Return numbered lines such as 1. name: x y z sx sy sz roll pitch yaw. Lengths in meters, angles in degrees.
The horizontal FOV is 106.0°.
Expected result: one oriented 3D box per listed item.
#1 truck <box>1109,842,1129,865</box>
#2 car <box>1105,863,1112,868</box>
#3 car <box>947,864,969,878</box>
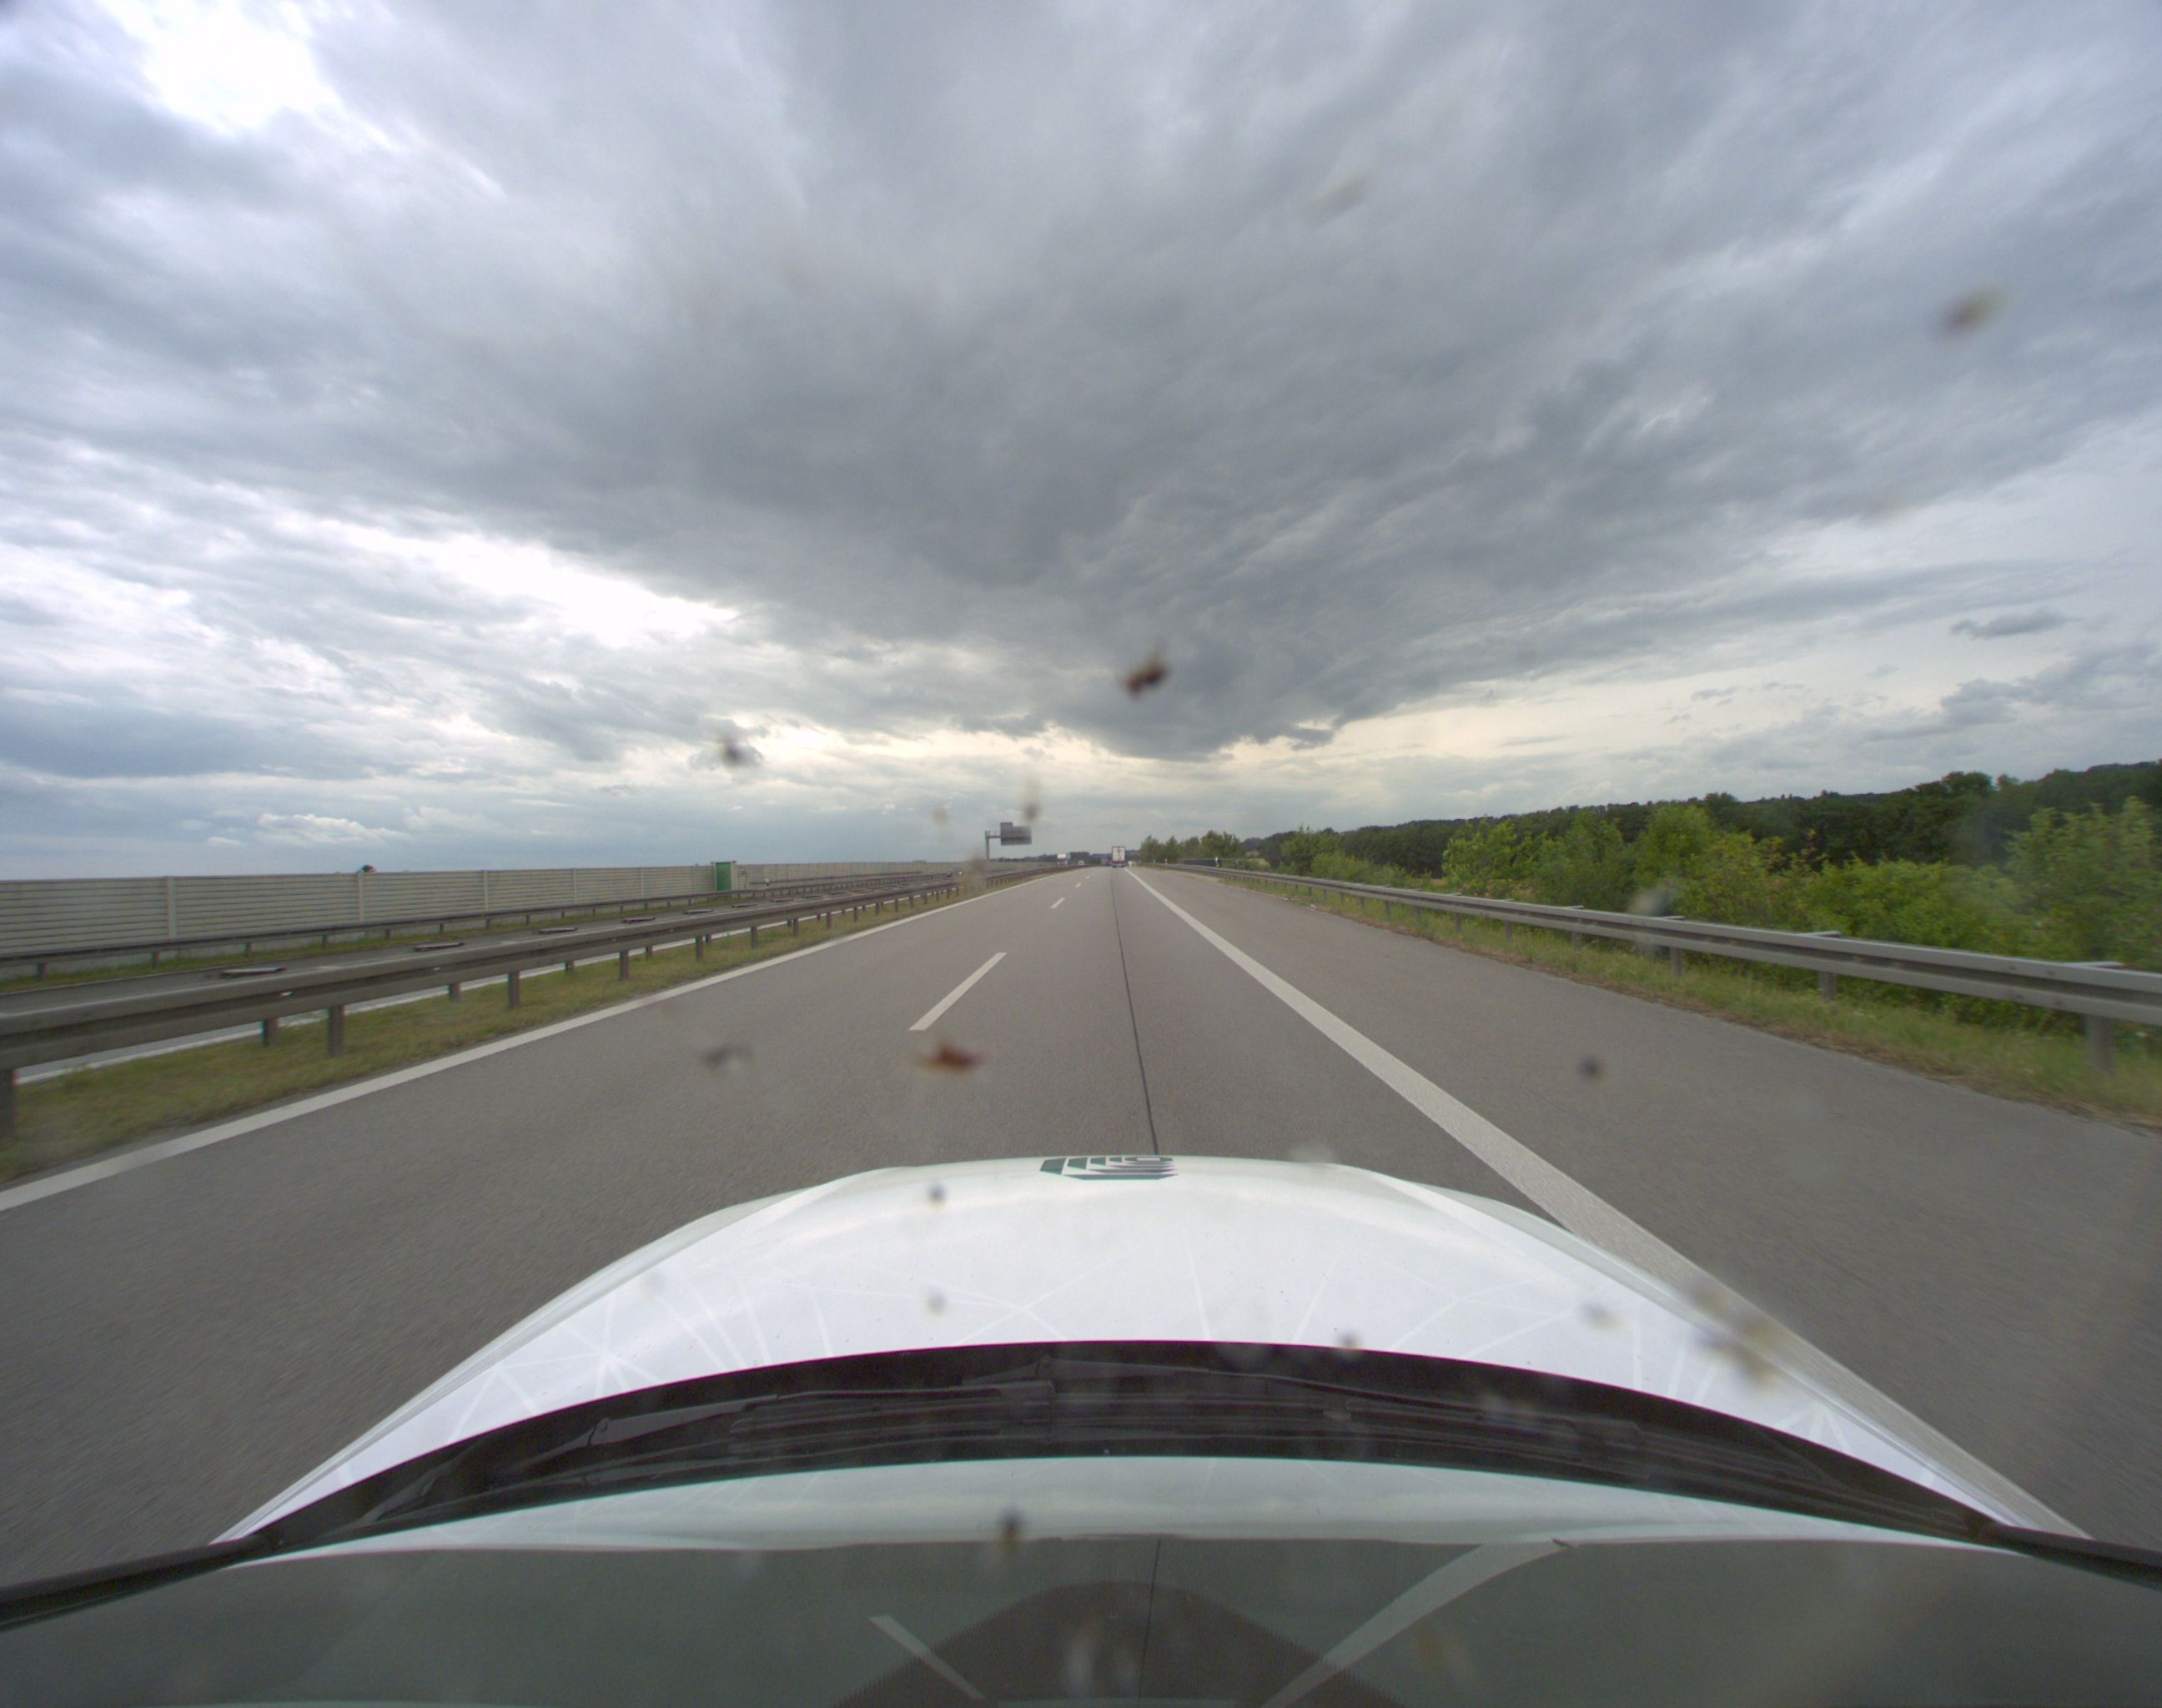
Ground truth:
1. truck: 7.738 0.023 163.764 3.657 4.412 16.351 -2 -1 3
2. car: 8.492 3.420 250.880 1.987 1.420 3.999 -1 0 0
3. car: -14.335 1.976 95.225 1.697 1.494 4.568 -4 0 2
